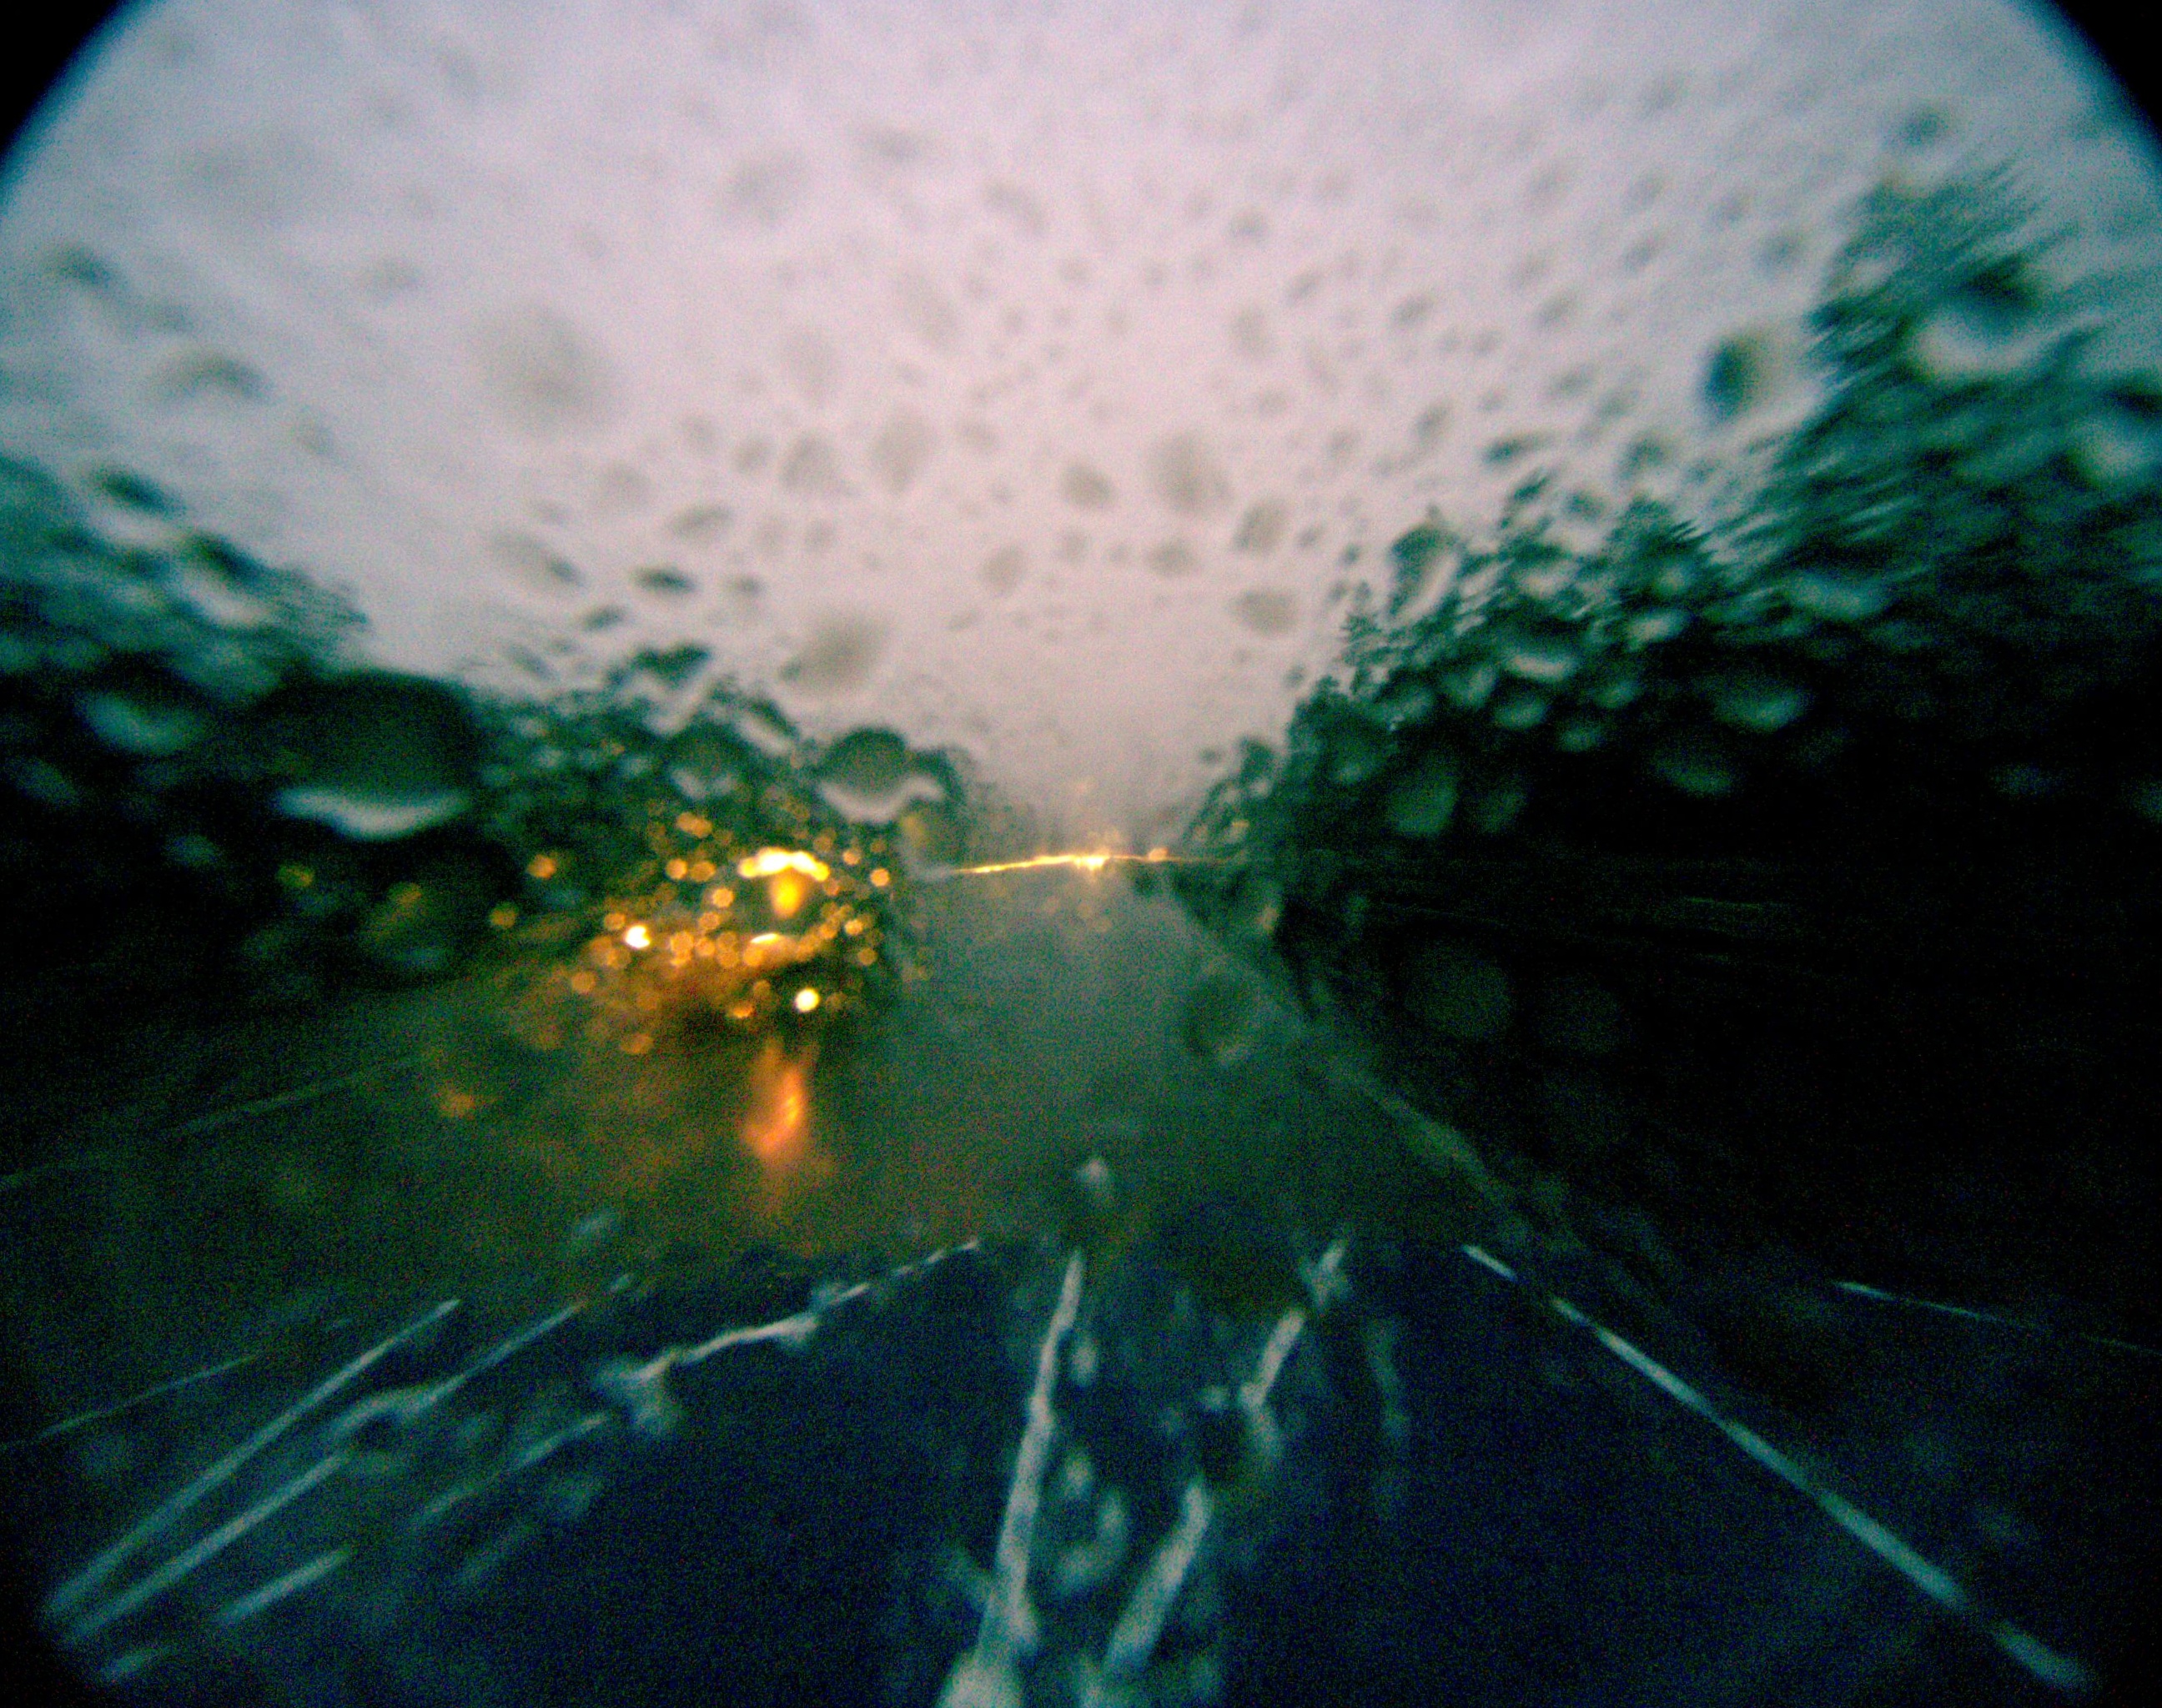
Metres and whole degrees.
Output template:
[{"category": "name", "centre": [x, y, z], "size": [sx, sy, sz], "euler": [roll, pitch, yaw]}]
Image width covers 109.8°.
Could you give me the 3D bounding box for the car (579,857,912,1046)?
[{"category": "car", "centre": [-3.656, 0.929, 9.383], "size": [2.075, 1.688, 4.461], "euler": [-2, 0, 0]}]

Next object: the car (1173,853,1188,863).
[{"category": "car", "centre": [14.551, 0.598, 111.372], "size": [1.680, 1.381, 3.981], "euler": [-2, 0, 0]}]
